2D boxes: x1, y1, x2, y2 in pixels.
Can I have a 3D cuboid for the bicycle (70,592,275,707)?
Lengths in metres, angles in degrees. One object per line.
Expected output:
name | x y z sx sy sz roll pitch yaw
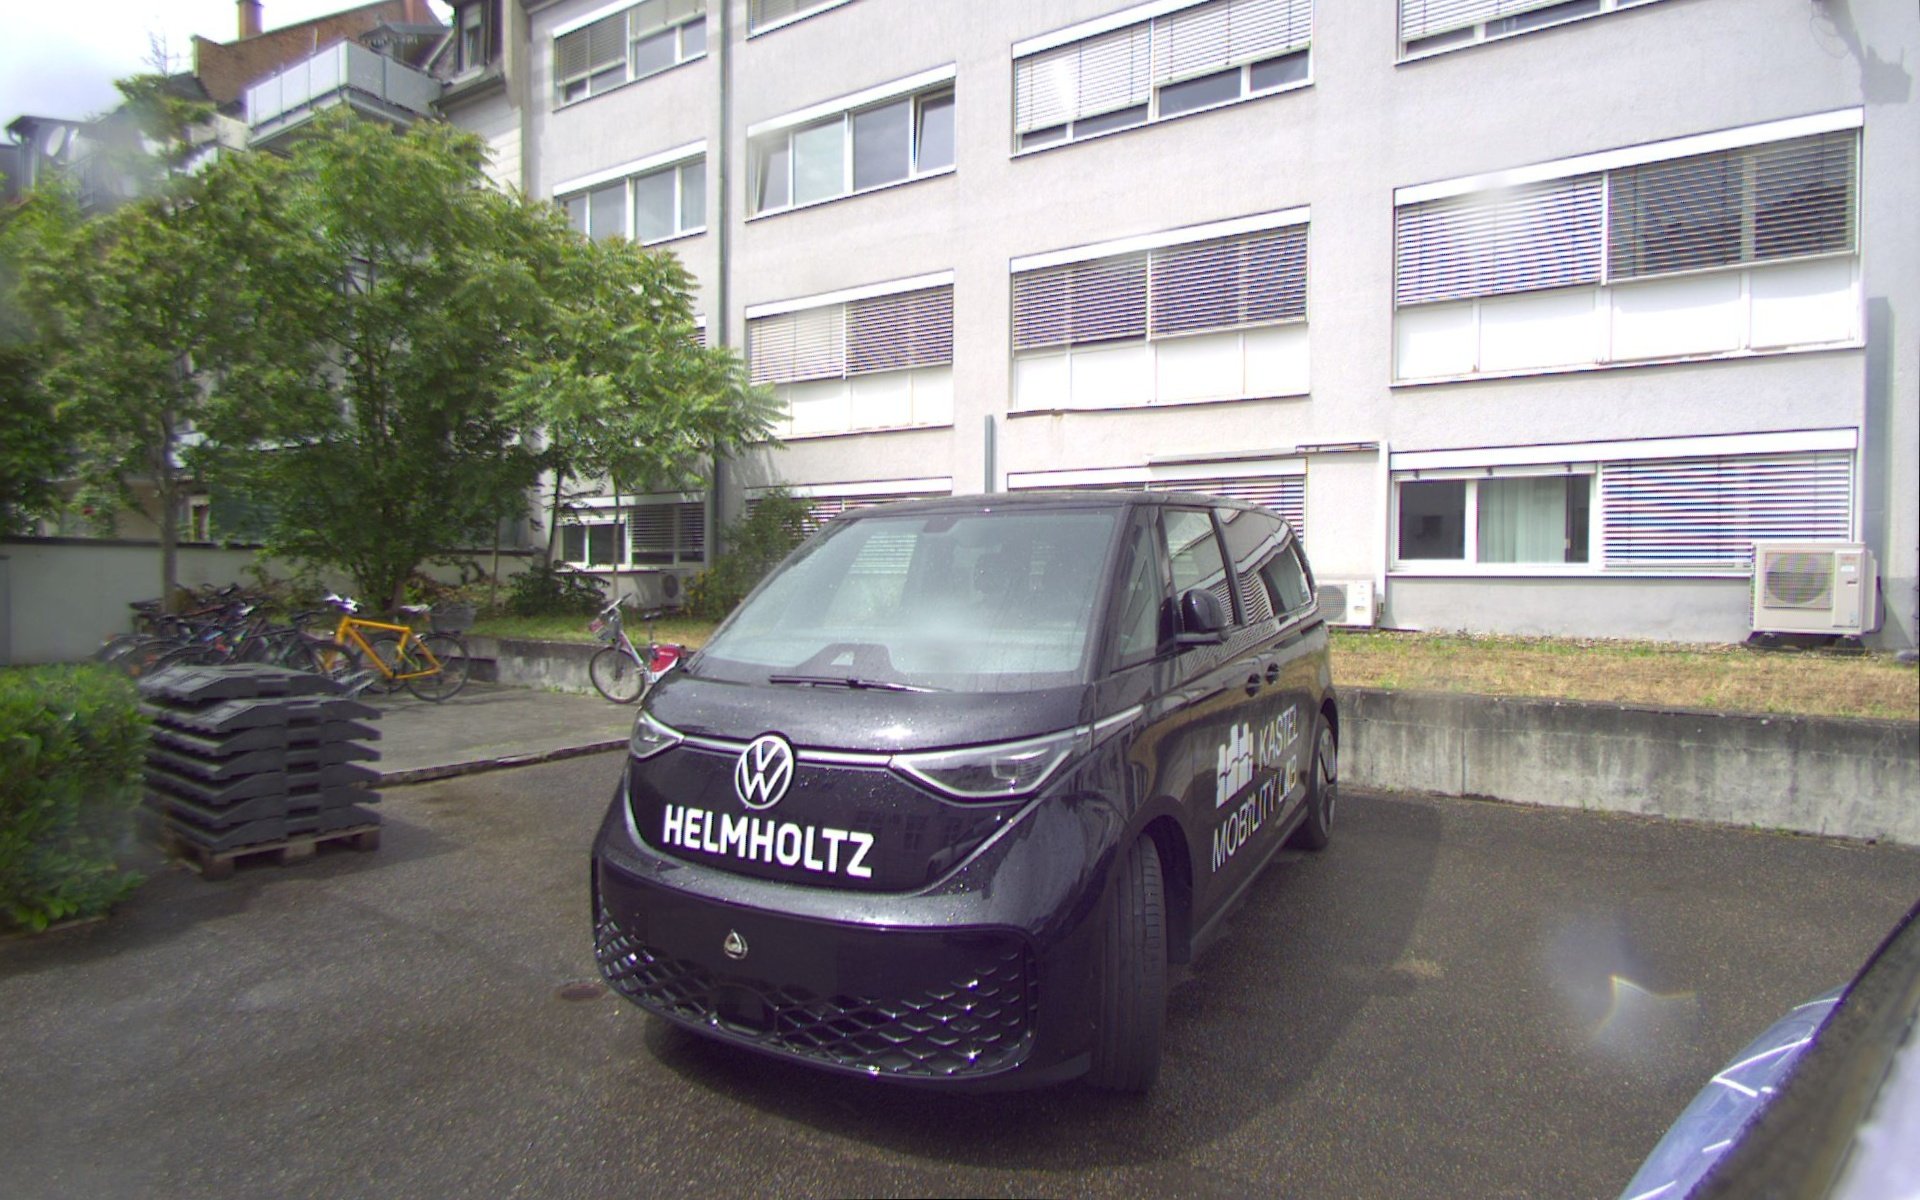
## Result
bicycle | -8.382 0.485 10.852 0.343 1.117 1.737 1 1 30

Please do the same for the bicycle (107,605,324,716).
bicycle | -7.420 0.565 10.182 0.327 0.979 1.777 1 2 30

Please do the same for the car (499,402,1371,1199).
car | 0.558 0.424 4.734 1.954 1.888 4.700 0 2 30

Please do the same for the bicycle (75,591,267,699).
bicycle | -8.970 0.473 11.580 0.339 1.117 1.737 1 1 30

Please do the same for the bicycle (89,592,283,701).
bicycle | -8.655 0.475 11.395 0.352 1.117 1.737 1 1 30

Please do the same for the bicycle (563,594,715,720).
bicycle | -3.241 0.525 10.135 1.785 1.117 0.441 2 4 35

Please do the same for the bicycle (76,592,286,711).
bicycle | -8.039 0.491 10.530 0.340 1.117 1.737 1 1 30

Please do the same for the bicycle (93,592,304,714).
bicycle | -7.716 0.494 10.349 0.330 1.117 1.737 1 1 30

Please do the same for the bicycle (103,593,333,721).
bicycle | -7.108 0.503 9.786 0.353 1.117 1.772 2 2 38

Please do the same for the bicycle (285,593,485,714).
bicycle | -5.821 0.497 10.346 0.365 1.117 1.772 2 2 38

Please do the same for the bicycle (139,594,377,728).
bicycle | -6.426 0.510 9.360 0.403 1.117 1.772 2 2 38
